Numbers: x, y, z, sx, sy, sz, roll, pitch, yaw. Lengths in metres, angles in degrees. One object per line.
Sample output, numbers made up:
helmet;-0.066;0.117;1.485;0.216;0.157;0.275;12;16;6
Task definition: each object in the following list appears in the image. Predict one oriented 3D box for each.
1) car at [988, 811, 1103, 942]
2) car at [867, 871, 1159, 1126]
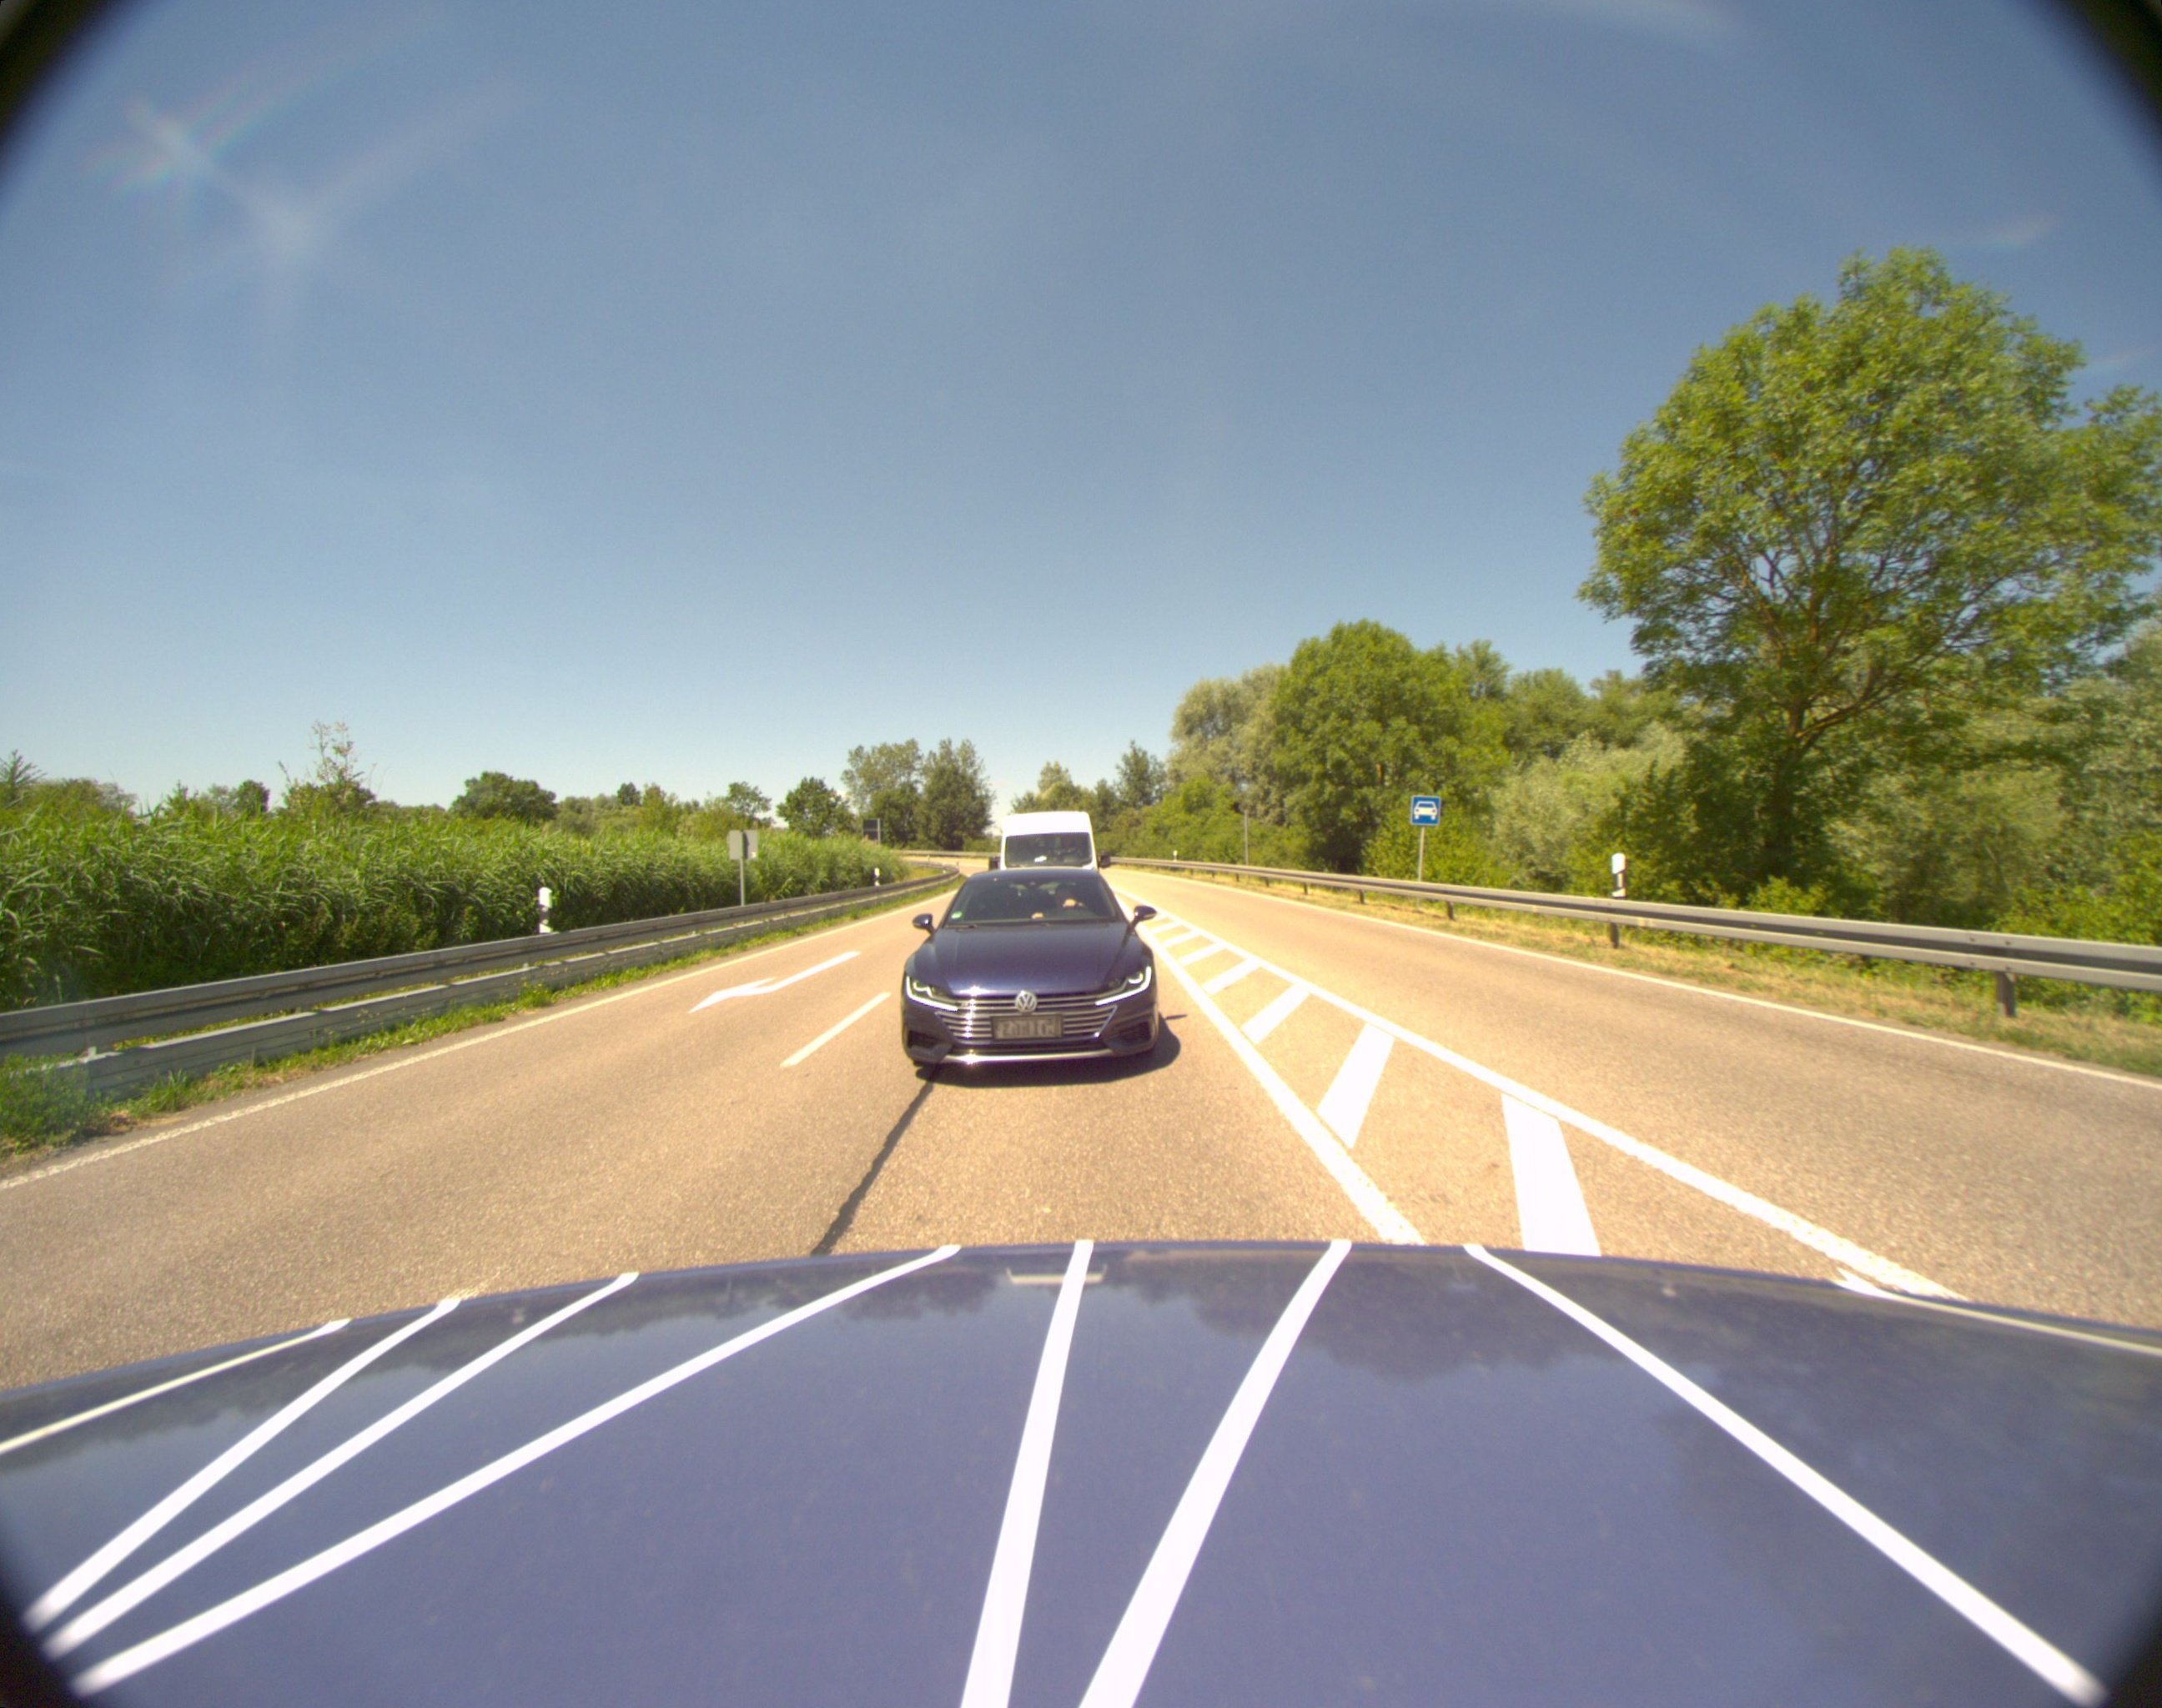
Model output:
car;-0.640;0.390;17.072;2.059;2.376;5.826;-2;1;0
car;-0.412;0.946;6.726;1.761;1.401;3.999;-2;1;0
